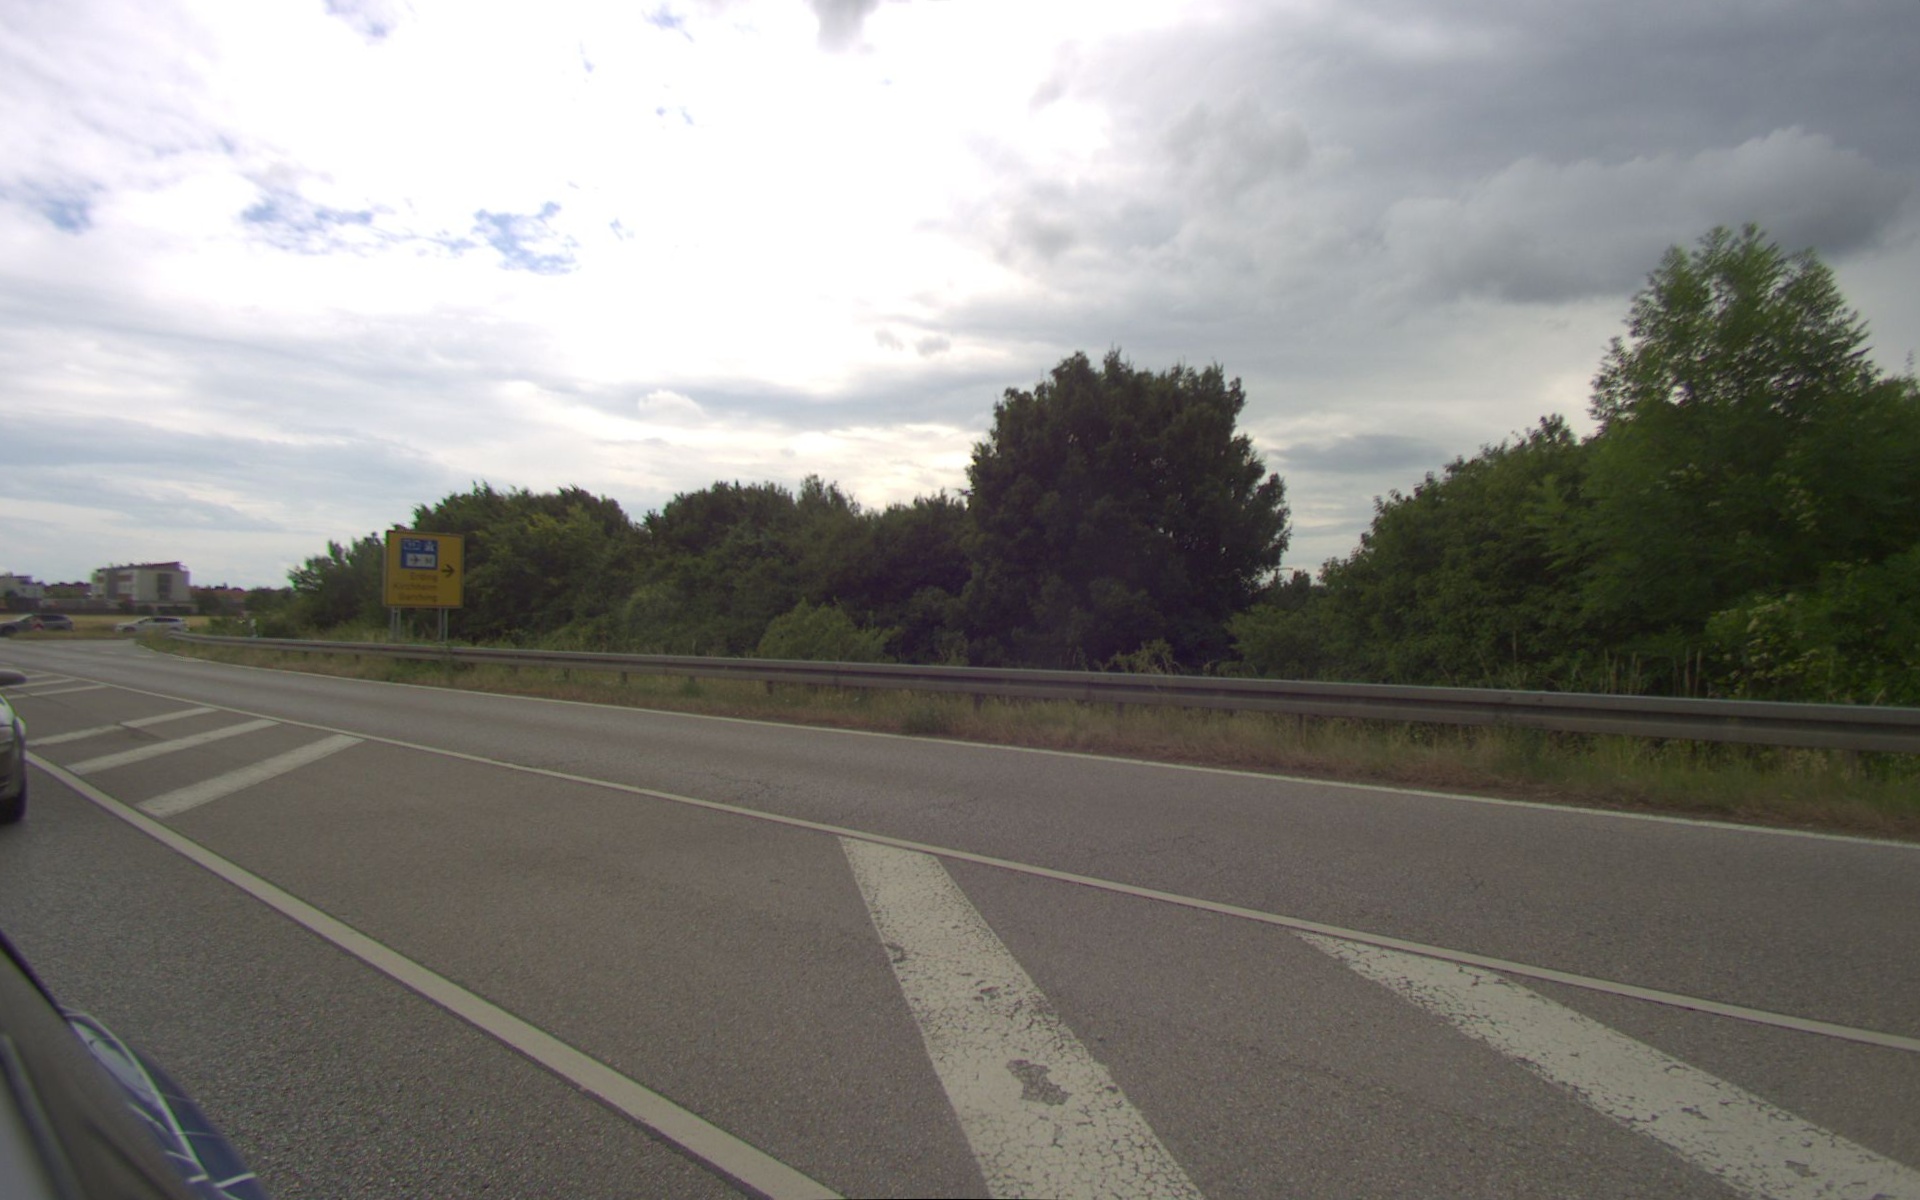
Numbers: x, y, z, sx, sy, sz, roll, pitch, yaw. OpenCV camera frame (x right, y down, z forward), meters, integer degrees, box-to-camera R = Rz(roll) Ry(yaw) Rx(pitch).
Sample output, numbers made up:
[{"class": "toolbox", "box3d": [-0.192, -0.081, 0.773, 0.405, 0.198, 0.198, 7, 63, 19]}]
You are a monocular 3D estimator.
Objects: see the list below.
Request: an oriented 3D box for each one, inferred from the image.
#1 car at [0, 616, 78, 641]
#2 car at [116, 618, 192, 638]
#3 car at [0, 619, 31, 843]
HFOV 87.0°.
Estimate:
[{"class": "car", "box3d": [-67.327, 2.050, 73.392, 1.996, 1.702, 4.758, -1, -1, 37]}, {"class": "car", "box3d": [-62.746, 2.151, 78.829, 4.605, 1.510, 2.003, 1, -1, -40]}, {"class": "car", "box3d": [-8.295, 0.868, 7.397, 4.201, 1.455, 1.708, -1, -2, 40]}]
